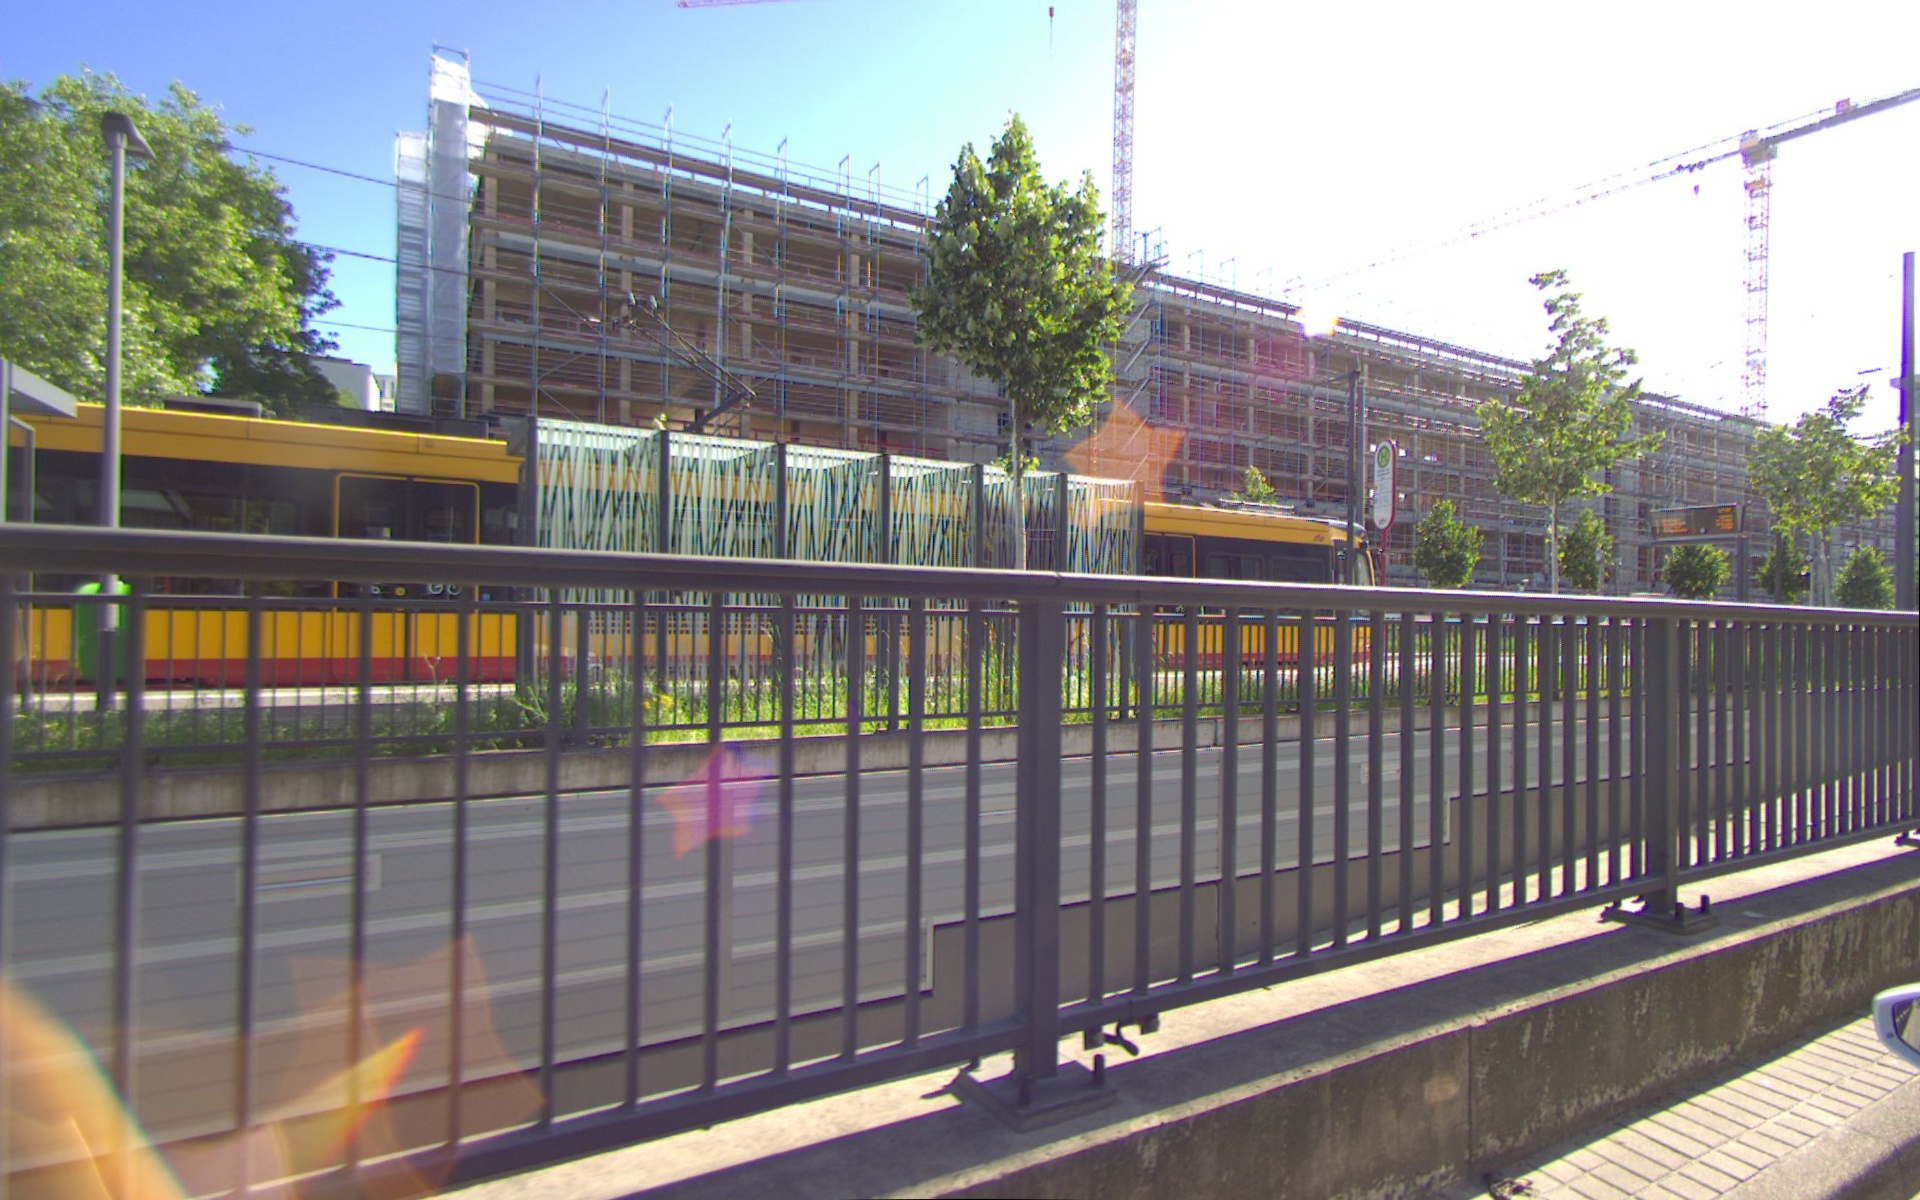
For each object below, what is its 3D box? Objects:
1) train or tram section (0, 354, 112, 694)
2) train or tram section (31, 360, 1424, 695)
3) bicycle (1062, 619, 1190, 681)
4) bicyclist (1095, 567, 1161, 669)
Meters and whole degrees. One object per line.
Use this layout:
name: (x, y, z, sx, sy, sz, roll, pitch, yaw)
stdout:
train or tram section: (-16.329, -0.912, 7.443, 15.005, 3.323, 2.856, 1, 1, -30)
train or tram section: (-0.472, -0.540, 16.753, 21.881, 3.323, 2.856, 1, 1, -30)
bicycle: (2.566, 0.751, 15.391, 2.063, 0.897, 0.535, 1, -1, -30)
bicyclist: (2.577, 0.281, 15.395, 0.843, 1.511, 0.535, 1, -1, -30)
